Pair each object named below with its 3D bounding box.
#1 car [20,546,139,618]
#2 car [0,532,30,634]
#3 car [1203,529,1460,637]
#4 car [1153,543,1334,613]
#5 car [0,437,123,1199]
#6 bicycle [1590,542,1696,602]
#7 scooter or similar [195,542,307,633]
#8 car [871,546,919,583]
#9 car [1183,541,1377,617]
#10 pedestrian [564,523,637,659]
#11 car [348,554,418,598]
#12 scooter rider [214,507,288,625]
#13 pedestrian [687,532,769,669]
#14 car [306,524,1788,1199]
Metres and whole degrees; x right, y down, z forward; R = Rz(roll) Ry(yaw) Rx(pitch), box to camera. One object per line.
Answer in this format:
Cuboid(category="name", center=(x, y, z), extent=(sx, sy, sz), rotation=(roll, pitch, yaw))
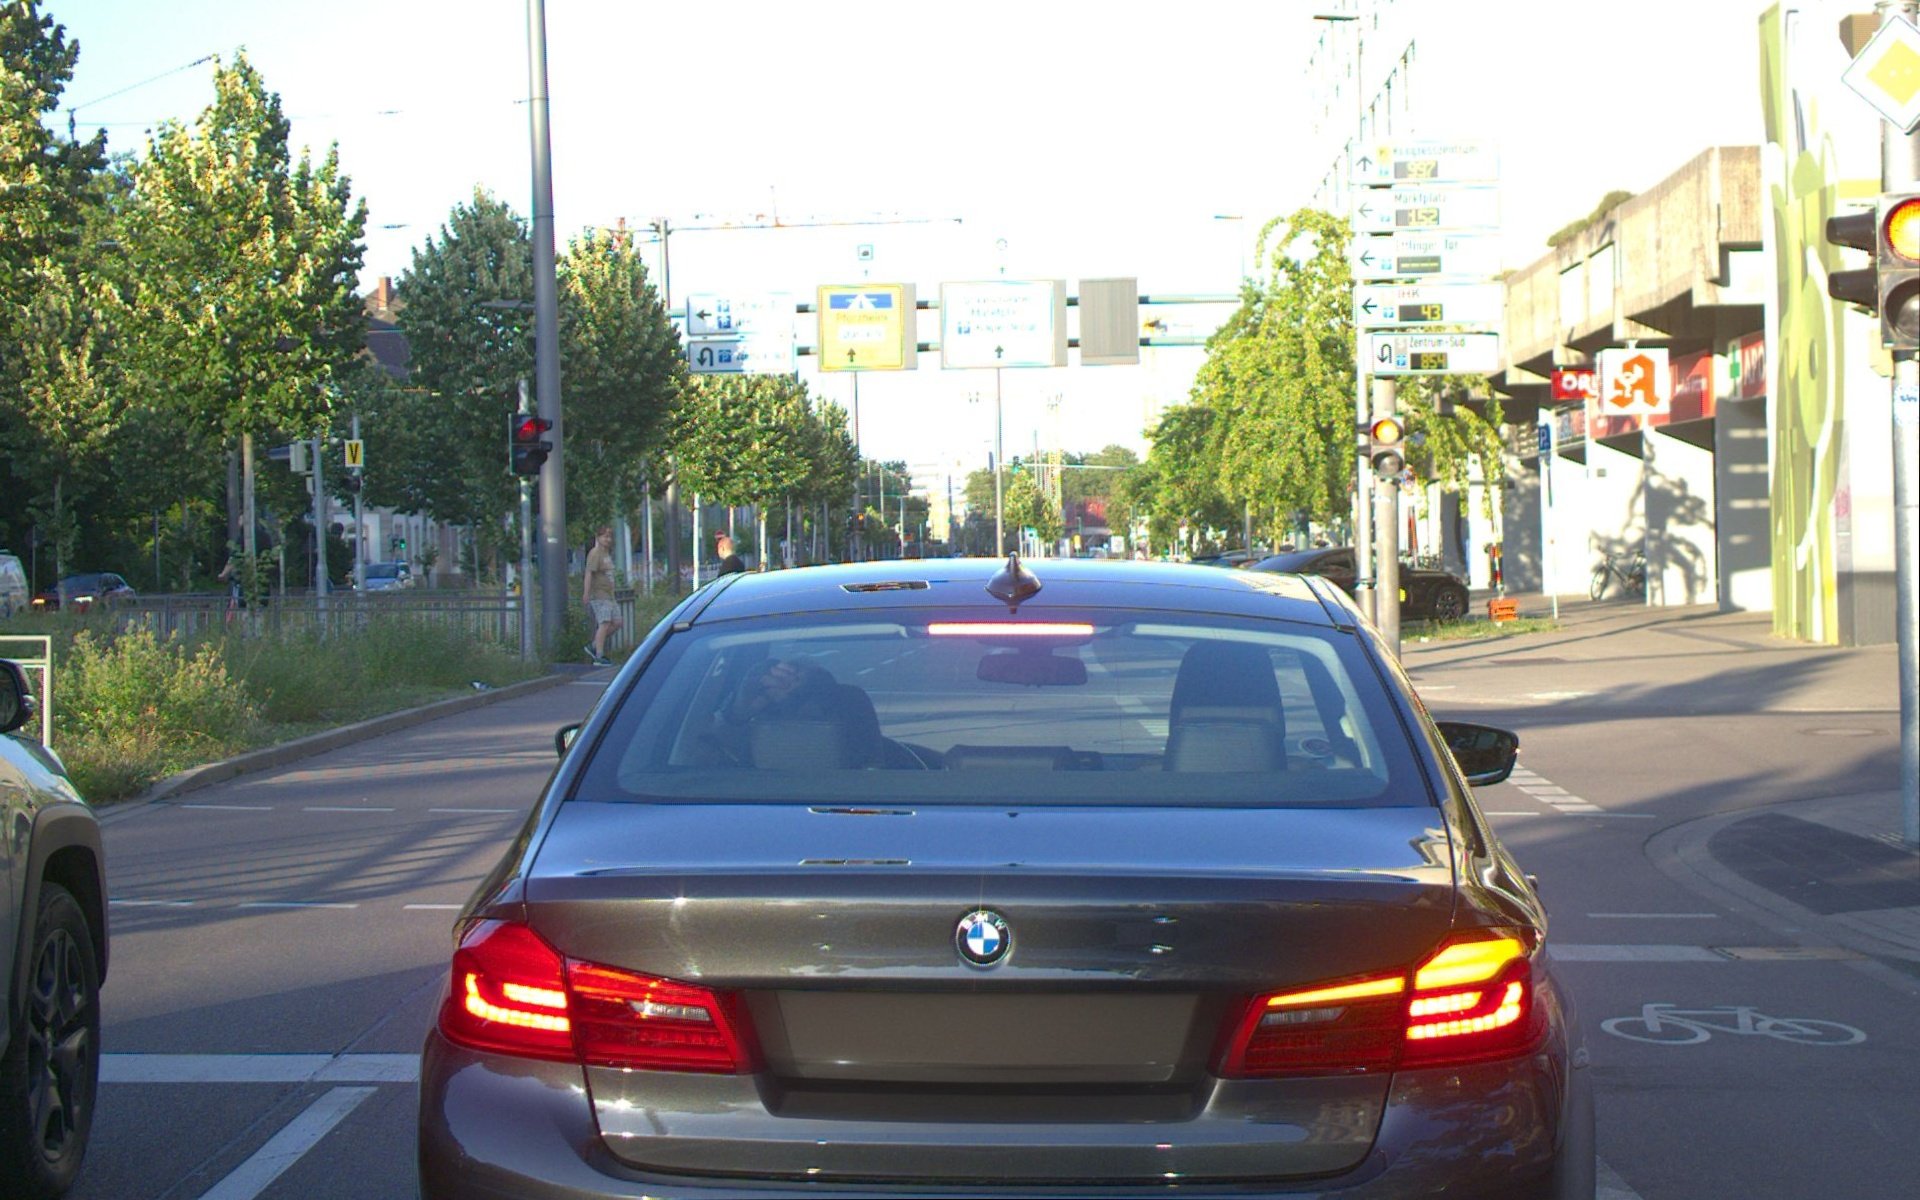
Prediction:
Cuboid(category="car", center=(-23.047, -0.492, 90.103), extent=(1.993, 1.738, 4.751), rotation=(0, 2, -1))
Cuboid(category="car", center=(-22.004, -0.396, 76.066), extent=(1.993, 2.160, 4.752), rotation=(0, 2, -6))
Cuboid(category="car", center=(6.160, -0.314, 56.787), extent=(4.256, 1.653, 1.860), rotation=(-2, 3, -42))
Cuboid(category="car", center=(7.032, -0.565, 85.243), extent=(4.255, 1.653, 1.860), rotation=(-1, 2, -34))
Cuboid(category="car", center=(-2.874, 0.525, 6.041), extent=(1.854, 1.653, 4.269), rotation=(0, 2, -1))
Cuboid(category="bicycle", center=(13.709, -0.563, 69.047), extent=(2.017, 1.145, 0.690), rotation=(2, 0, 7))
Cuboid(category="scooter or similar", center=(-9.216, -0.169, 44.720), extent=(1.329, 1.149, 0.513), rotation=(-1, 1, -2))
Cuboid(category="car", center=(-2.765, -1.534, 147.048), extent=(1.979, 1.428, 4.843), rotation=(0, 2, 0))
Cuboid(category="car", center=(7.372, -0.504, 79.169), extent=(4.255, 1.653, 1.860), rotation=(-1, 2, -35))
Cuboid(category="pedestrian", center=(-4.589, -0.118, 43.899), extent=(0.835, 1.706, 0.648), rotation=(-1, 1, -1))
Cuboid(category="car", center=(-20.331, -0.860, 121.233), extent=(1.800, 1.476, 3.783), rotation=(-1, 1, 1))
Cuboid(category="scooter rider", center=(-9.227, -0.445, 44.749), extent=(0.820, 1.509, 0.653), rotation=(-1, 1, -2))
Cuboid(category="pedestrian", center=(-2.740, 0.004, 40.606), extent=(0.835, 1.581, 0.812), rotation=(-1, 1, 4))
Cuboid(category="car", center=(0.229, 0.621, 6.759), extent=(1.932, 1.476, 4.522), rotation=(0, 2, 3))
